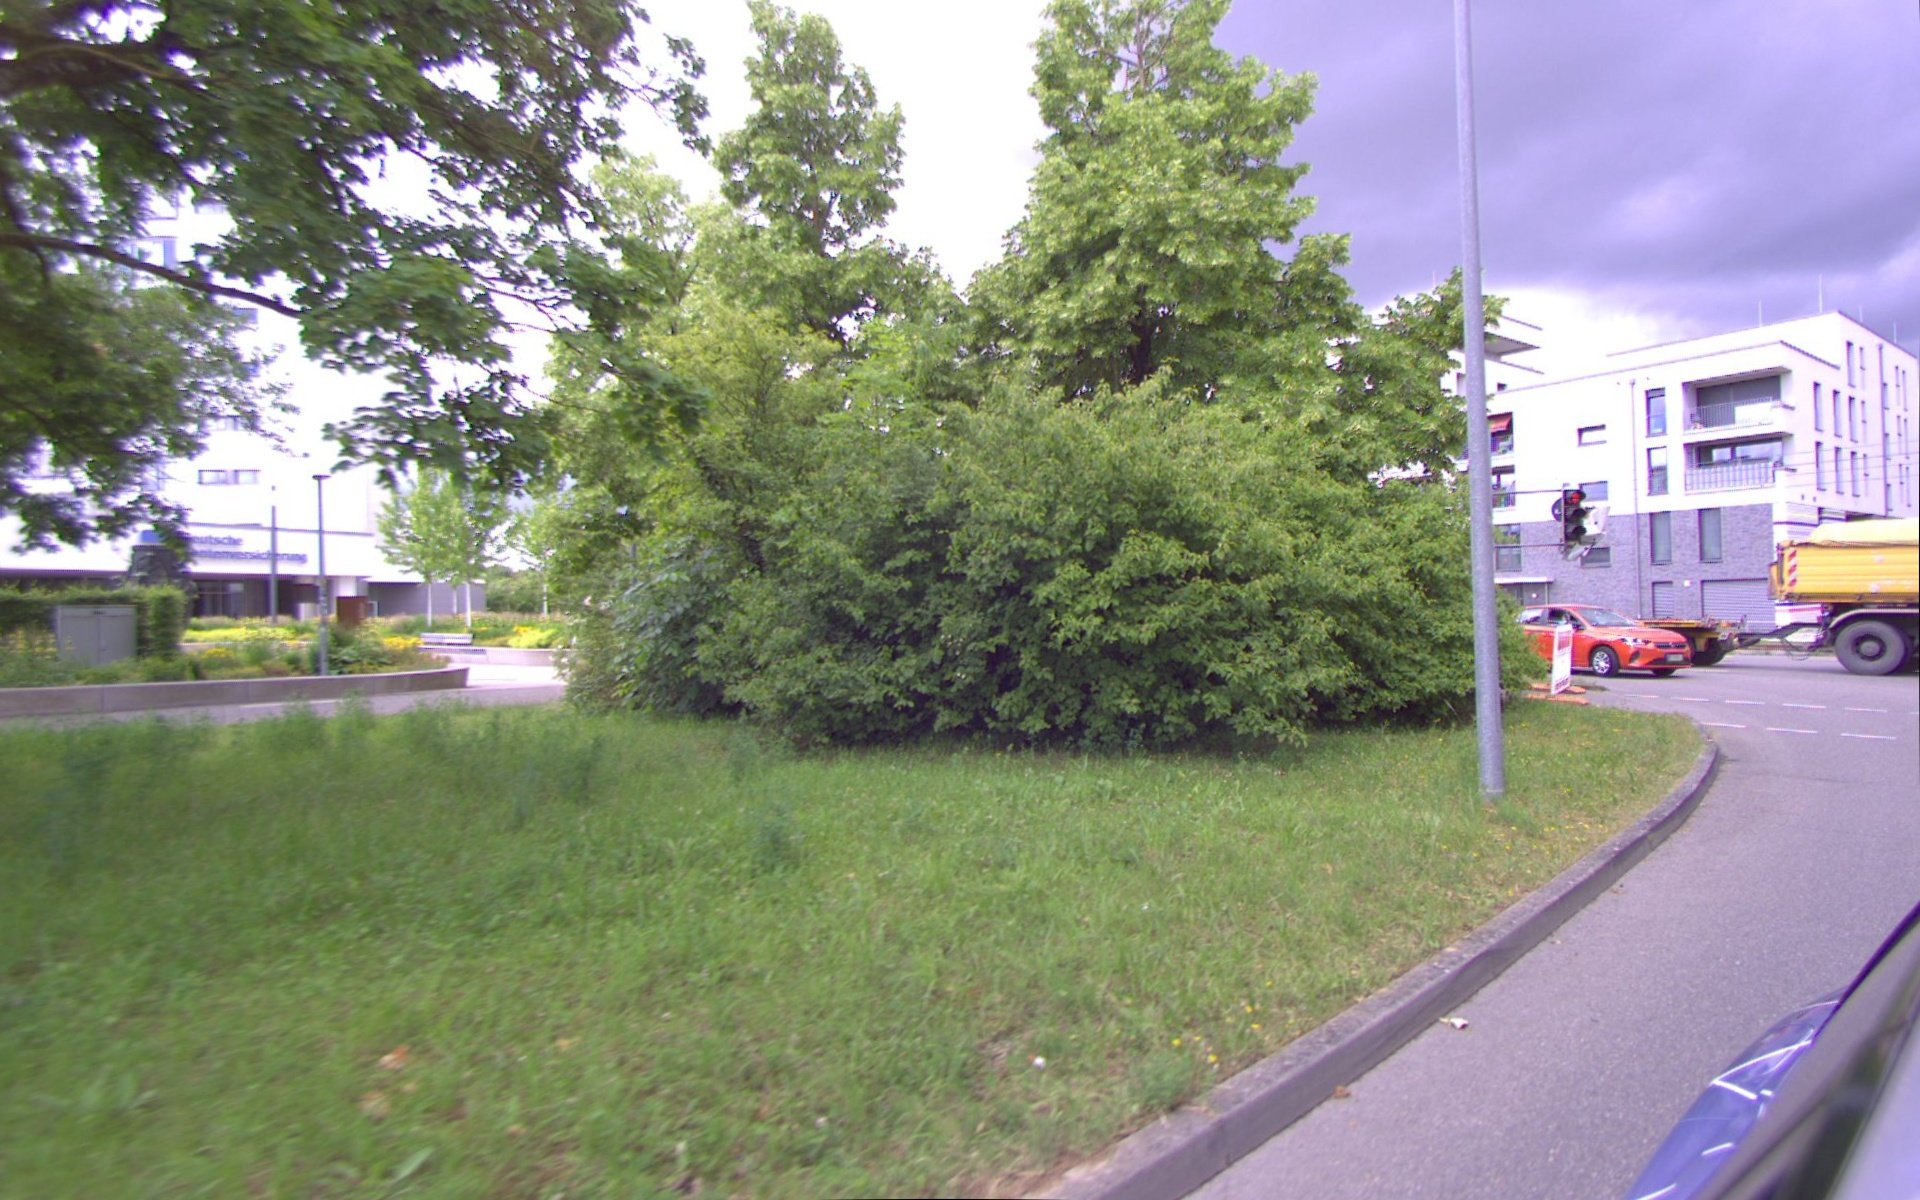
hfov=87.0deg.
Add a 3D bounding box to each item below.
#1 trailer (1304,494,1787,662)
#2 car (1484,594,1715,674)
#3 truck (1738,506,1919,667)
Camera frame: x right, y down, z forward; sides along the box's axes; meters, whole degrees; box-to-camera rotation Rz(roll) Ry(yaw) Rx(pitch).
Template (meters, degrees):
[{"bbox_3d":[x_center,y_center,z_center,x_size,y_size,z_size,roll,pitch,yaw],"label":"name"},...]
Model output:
[{"bbox_3d":[14.545,-0.424,26.700,2.663,3.566,10.913,0,-1,-35],"label":"trailer"},{"bbox_3d":[13.178,0.637,21.166,1.658,1.498,4.008,0,0,-16],"label":"car"},{"bbox_3d":[19.801,-0.264,19.007,2.677,3.041,7.779,0,0,-35],"label":"truck"}]
